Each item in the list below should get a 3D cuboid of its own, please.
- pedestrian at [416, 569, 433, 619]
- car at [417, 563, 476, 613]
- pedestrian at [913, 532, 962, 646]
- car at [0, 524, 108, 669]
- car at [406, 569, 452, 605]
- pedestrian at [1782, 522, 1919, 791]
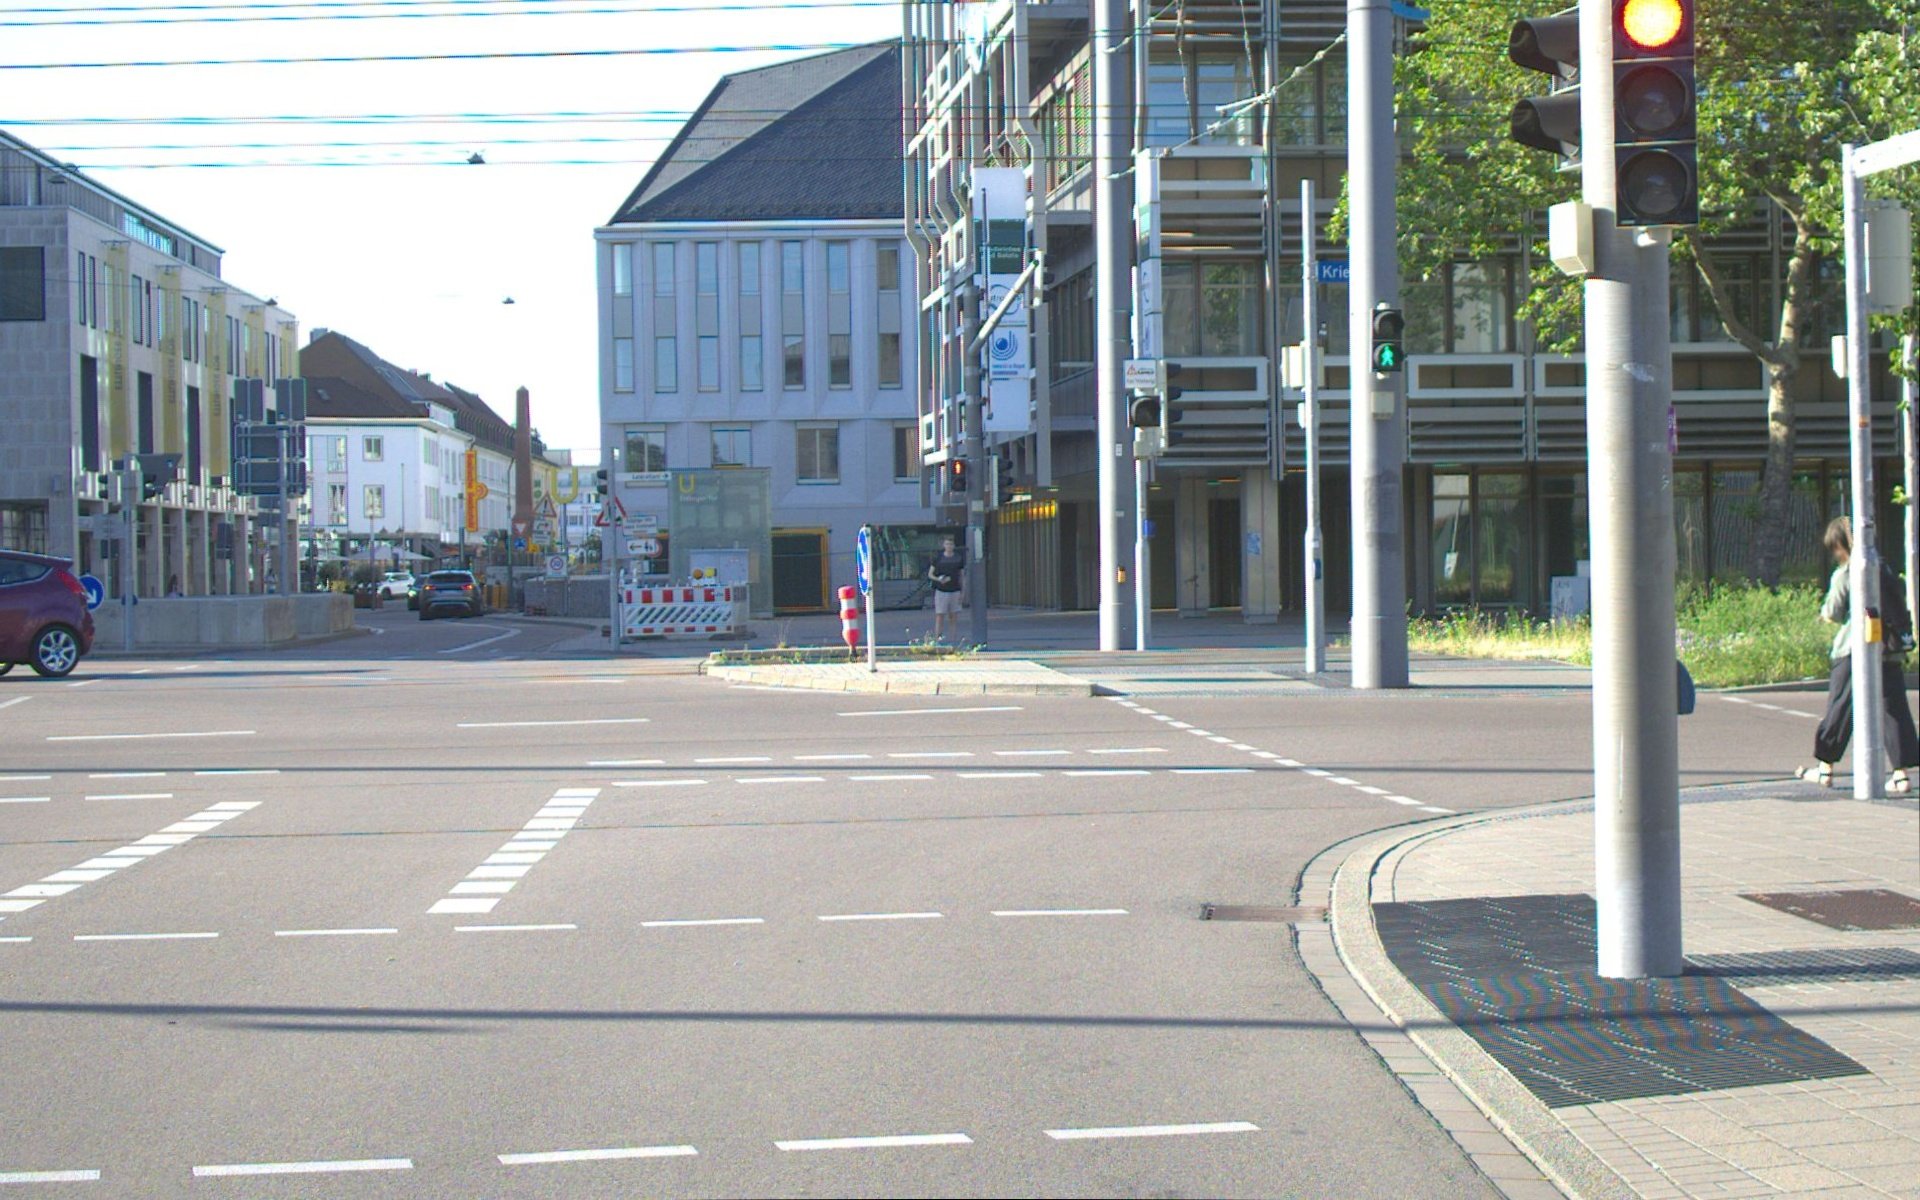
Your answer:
[{"bbox_3d":[-18.260,-0.216,117.208,0.521,1.674,0.583,1,1,-7],"label":"pedestrian"},{"bbox_3d":[-16.150,-0.390,108.206,1.737,1.525,3.856,1,1,-7],"label":"car"},{"bbox_3d":[-0.373,-0.186,57.312,0.788,1.883,0.644,1,0,-1],"label":"pedestrian"},{"bbox_3d":[-11.512,-0.023,37.662,3.887,1.579,1.659,-1,1,-41],"label":"car"},{"bbox_3d":[-24.874,-0.612,161.094,1.797,1.652,4.001,1,1,-4],"label":"car"},{"bbox_3d":[5.116,0.312,19.372,0.788,1.487,0.644,1,0,-1],"label":"pedestrian"}]
